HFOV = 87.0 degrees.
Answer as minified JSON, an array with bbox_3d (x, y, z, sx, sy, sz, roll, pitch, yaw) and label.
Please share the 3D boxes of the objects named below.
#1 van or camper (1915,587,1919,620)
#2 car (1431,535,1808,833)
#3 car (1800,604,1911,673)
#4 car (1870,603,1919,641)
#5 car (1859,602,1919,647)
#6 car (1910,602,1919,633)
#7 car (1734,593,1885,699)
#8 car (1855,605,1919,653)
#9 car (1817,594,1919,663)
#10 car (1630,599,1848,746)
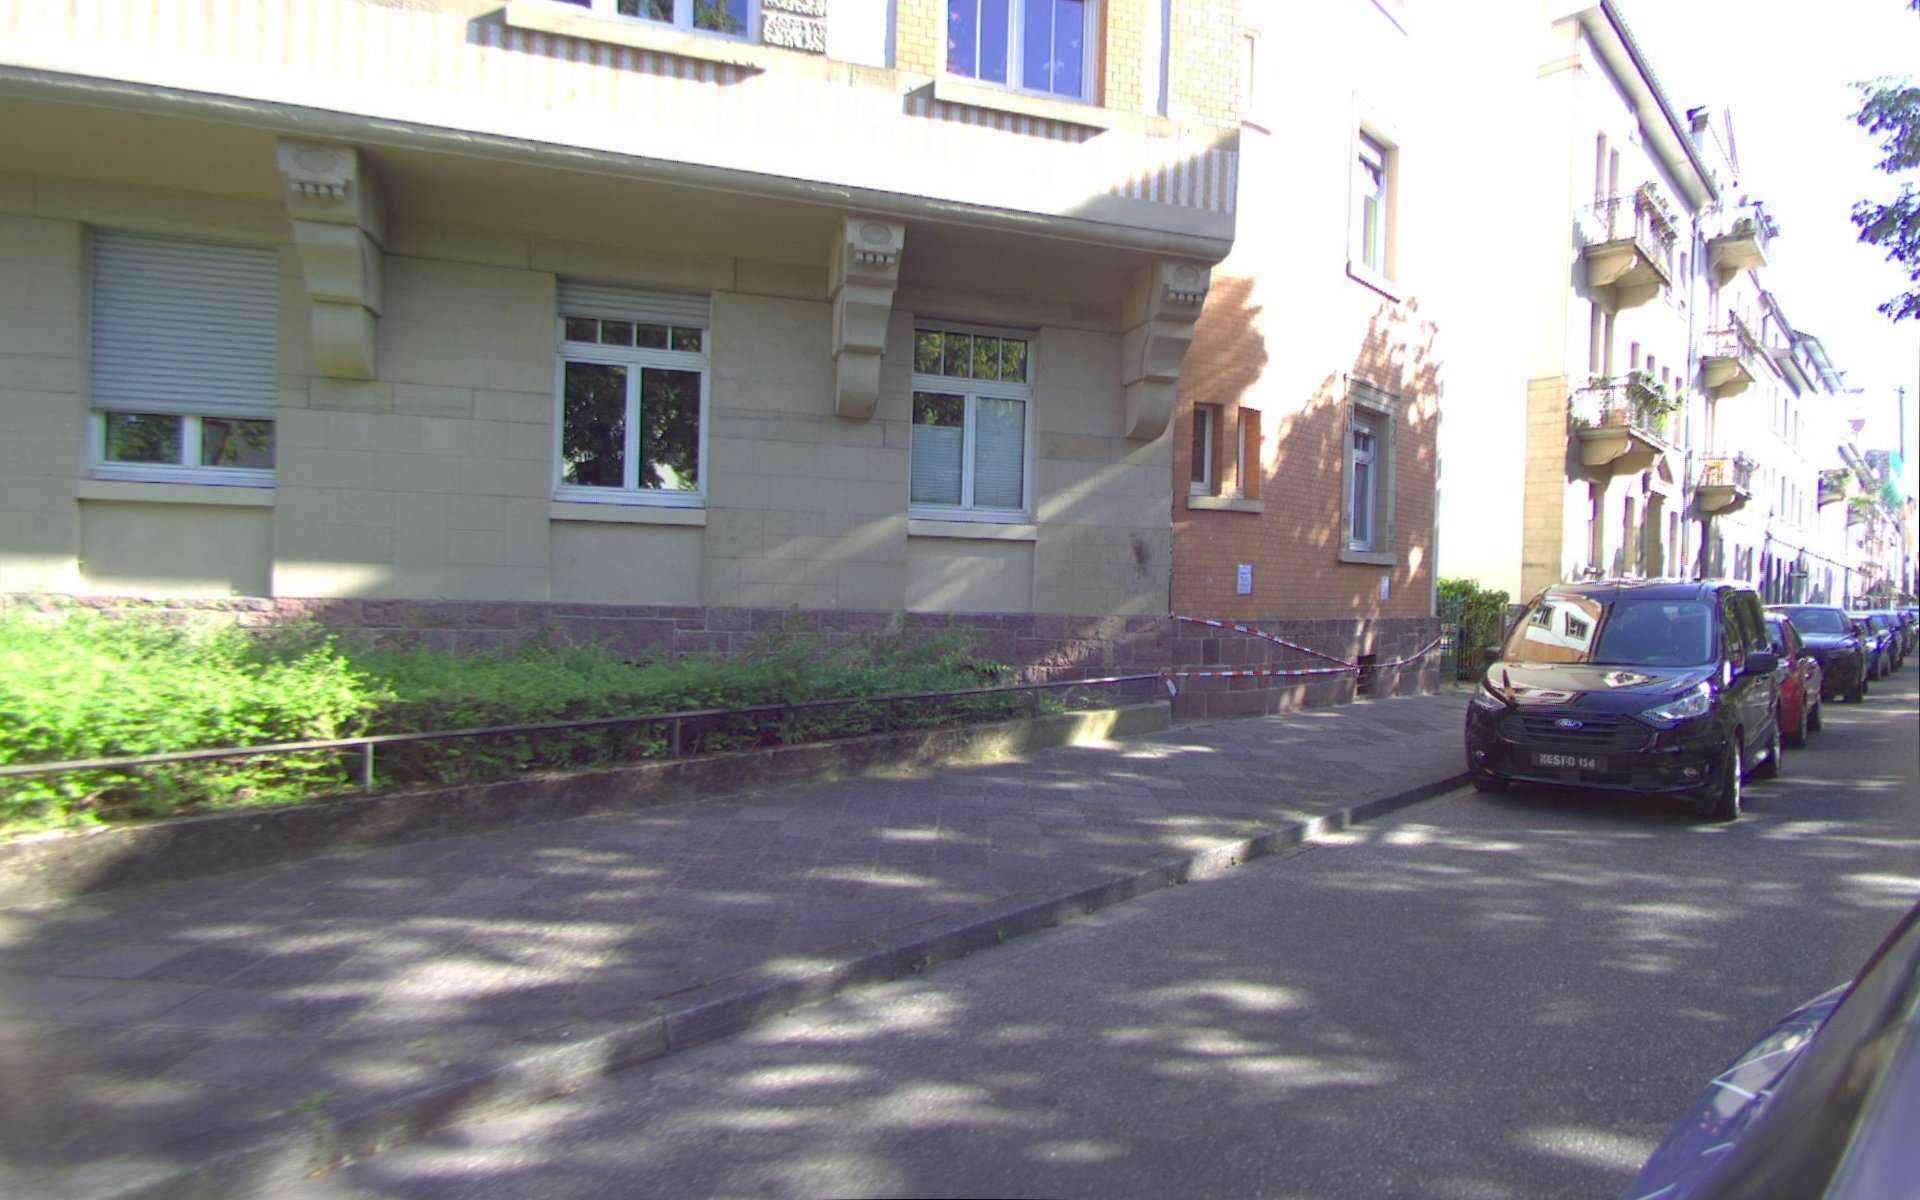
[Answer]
[{"bbox_3d":[90.338,0.488,90.988,2.349,3.039,6.048,2,1,-16],"label":"van or camper"},{"bbox_3d":[5.748,0.560,8.587,4.203,1.895,1.802,0,-2,-45],"label":"car"},{"bbox_3d":[20.455,0.817,23.084,3.571,1.433,1.591,0,0,-44],"label":"car"},{"bbox_3d":[37.784,0.843,40.488,4.220,1.449,1.771,0,1,-44],"label":"car"},{"bbox_3d":[34.549,0.872,37.379,1.767,1.571,4.116,-1,-1,45],"label":"car"},{"bbox_3d":[49.867,0.890,51.820,3.902,1.511,1.600,-1,2,-45],"label":"car"},{"bbox_3d":[15.334,0.728,18.187,1.863,1.664,4.422,0,0,43],"label":"car"},{"bbox_3d":[31.301,0.934,33.936,3.939,1.486,1.693,0,0,-45],"label":"car"},{"bbox_3d":[23.663,0.692,26.314,1.806,1.583,4.252,3,2,44],"label":"car"},{"bbox_3d":[9.873,0.790,12.722,3.935,1.557,1.646,0,-2,-45],"label":"car"}]
